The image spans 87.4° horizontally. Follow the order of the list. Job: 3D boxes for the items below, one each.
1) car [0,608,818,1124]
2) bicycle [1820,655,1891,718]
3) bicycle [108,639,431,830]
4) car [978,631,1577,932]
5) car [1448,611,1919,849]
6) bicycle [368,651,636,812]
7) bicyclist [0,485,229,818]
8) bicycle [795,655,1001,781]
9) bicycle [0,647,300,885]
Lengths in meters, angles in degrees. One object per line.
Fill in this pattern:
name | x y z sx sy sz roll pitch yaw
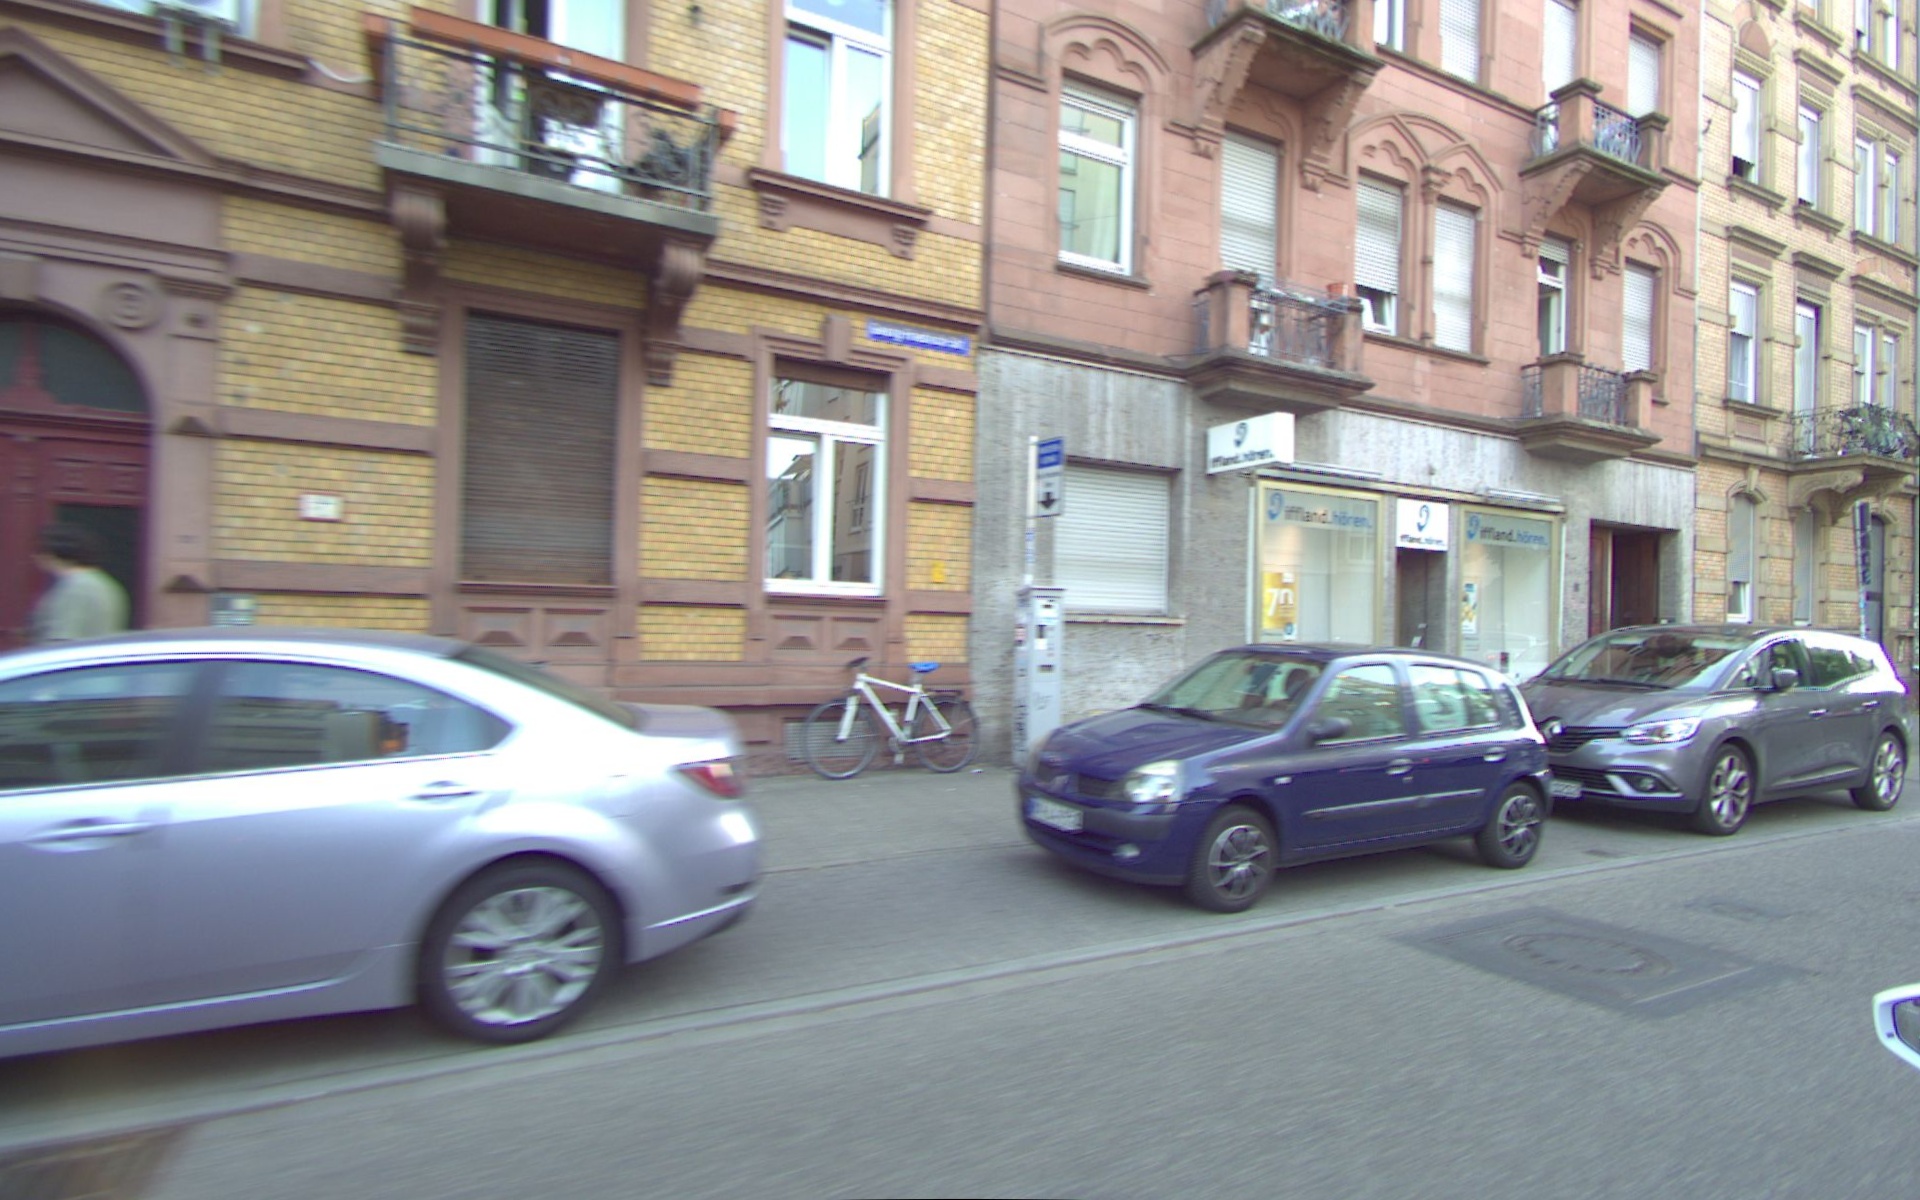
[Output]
car | -2.983 0.791 3.760 4.524 1.439 1.716 2 0 -28
bicycle | 16.070 1.533 18.014 1.608 1.041 0.588 2 0 -36
bicycle | -4.590 0.857 6.824 1.737 1.138 0.547 1 2 -28
car | 2.100 0.964 6.531 3.649 1.439 1.579 1 0 -27
car | 6.657 0.989 9.028 4.390 1.655 1.845 1 0 -28
bicycle | -3.366 0.928 7.468 1.737 1.051 0.547 1 2 -28
bicyclist | -4.844 0.290 5.751 0.831 1.752 0.707 3 -1 -21
bicycle | -0.550 1.049 9.214 1.824 1.036 0.447 2 3 -28
bicycle | -4.893 0.907 5.727 1.716 1.212 0.706 3 -1 -22
